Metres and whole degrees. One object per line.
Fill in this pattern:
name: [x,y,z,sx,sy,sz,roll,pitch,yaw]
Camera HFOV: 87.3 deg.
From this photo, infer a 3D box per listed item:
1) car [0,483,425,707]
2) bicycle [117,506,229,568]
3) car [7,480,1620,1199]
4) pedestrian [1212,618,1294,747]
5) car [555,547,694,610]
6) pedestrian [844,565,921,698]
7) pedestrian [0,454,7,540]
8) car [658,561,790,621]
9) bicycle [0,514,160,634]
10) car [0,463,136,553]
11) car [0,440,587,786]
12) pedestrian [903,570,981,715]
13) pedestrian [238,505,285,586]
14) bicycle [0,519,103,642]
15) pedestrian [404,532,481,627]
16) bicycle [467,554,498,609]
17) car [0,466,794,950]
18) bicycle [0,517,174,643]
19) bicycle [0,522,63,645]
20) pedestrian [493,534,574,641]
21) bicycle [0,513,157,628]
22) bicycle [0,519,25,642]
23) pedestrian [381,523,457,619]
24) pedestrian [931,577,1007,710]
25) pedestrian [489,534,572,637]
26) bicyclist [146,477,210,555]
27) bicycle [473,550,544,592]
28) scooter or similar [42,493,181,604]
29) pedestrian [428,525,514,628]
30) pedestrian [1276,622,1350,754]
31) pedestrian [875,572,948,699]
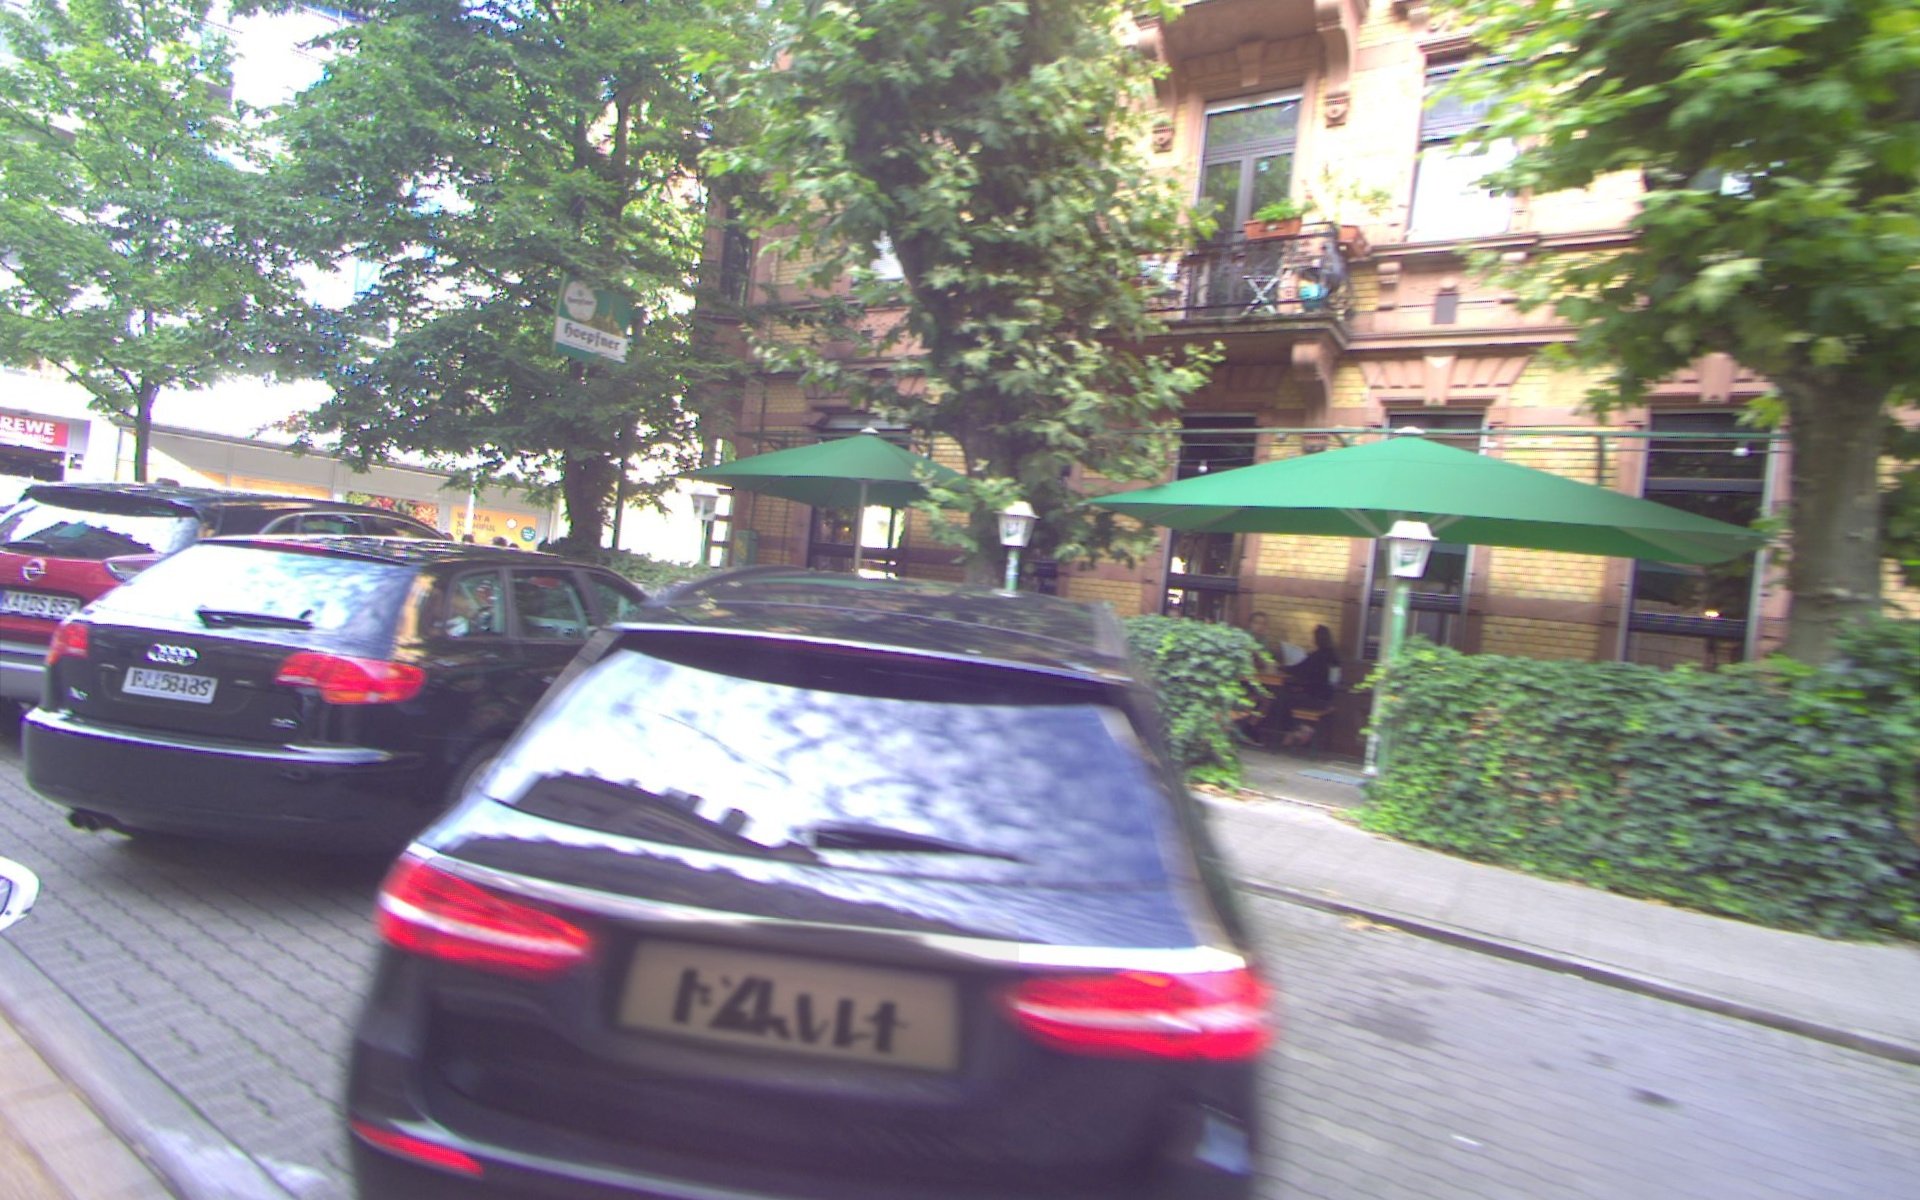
car: [-6.809,-0.080,8.834,1.736,1.475,3.945,7,0,5]
bicycle: [-18.696,-1.482,23.953,1.954,1.215,0.706,6,1,-31]
car: [-0.089,0.651,3.681,2.018,1.476,4.765,7,2,5]
pedestrian: [3.061,0.841,10.508,0.638,1.236,0.487,6,3,24]
car: [-10.987,-0.701,32.922,3.929,1.529,1.998,7,0,26]
pedestrian: [-0.982,0.400,12.782,0.560,1.590,0.629,7,2,29]
pedestrian: [-14.313,-1.254,14.274,0.772,1.802,0.789,6,1,-19]
car: [-8.121,-0.304,34.619,3.928,1.552,1.998,7,0,25]
bicycle: [-9.269,-0.287,10.286,1.870,1.054,0.444,6,4,4]
car: [-22.186,-2.255,22.942,4.763,1.747,2.037,7,2,-9]
car: [-4.693,-0.032,7.318,1.787,1.667,4.352,7,2,7]
pedestrian: [-0.214,0.504,12.205,0.554,1.665,0.646,7,4,29]
pedestrian: [-16.027,-1.251,23.079,0.627,1.761,0.766,5,2,-45]
bicycle: [-9.248,-0.242,9.595,1.979,1.054,0.347,6,4,6]
pedestrian: [-7.940,-0.308,15.445,0.586,1.359,0.757,7,1,29]
bicycle: [-10.543,-0.396,22.255,0.475,1.117,2.016,6,-1,-24]
car: [-2.606,0.367,5.662,1.905,1.475,4.416,7,0,8]
bicycle: [-8.700,-0.208,9.861,1.821,1.054,0.347,6,4,6]
bicycle: [-9.292,-0.223,9.205,1.822,1.054,0.460,5,4,4]
pedestrian: [-5.836,-0.158,13.780,0.618,1.368,0.670,7,1,29]
bicycle: [-9.645,-0.330,10.745,1.884,1.054,0.389,6,4,4]
bicycle: [-9.229,-0.247,8.705,1.822,1.054,0.549,5,4,4]
pedestrian: [-8.443,-0.442,15.705,0.539,1.410,0.757,7,1,29]
pedestrian: [0.118,0.549,12.773,0.560,1.590,0.629,7,2,29]
pedestrian: [-6.223,-0.206,14.571,0.745,1.375,0.673,7,1,29]
bicyclist: [-18.617,-1.979,23.970,1.006,1.689,0.935,6,1,-33]
bicycle: [-14.490,-0.927,32.344,0.428,1.155,2.080,8,1,33]
scooter or similar: [-11.173,-0.666,13.297,1.236,1.290,0.659,6,1,-33]
pedestrian: [-7.342,-0.340,15.123,0.691,1.424,0.798,7,1,29]
pedestrian: [3.577,0.874,10.186,0.553,1.236,0.465,6,3,24]
pedestrian: [-0.641,0.472,13.396,0.560,1.590,0.629,7,2,29]
